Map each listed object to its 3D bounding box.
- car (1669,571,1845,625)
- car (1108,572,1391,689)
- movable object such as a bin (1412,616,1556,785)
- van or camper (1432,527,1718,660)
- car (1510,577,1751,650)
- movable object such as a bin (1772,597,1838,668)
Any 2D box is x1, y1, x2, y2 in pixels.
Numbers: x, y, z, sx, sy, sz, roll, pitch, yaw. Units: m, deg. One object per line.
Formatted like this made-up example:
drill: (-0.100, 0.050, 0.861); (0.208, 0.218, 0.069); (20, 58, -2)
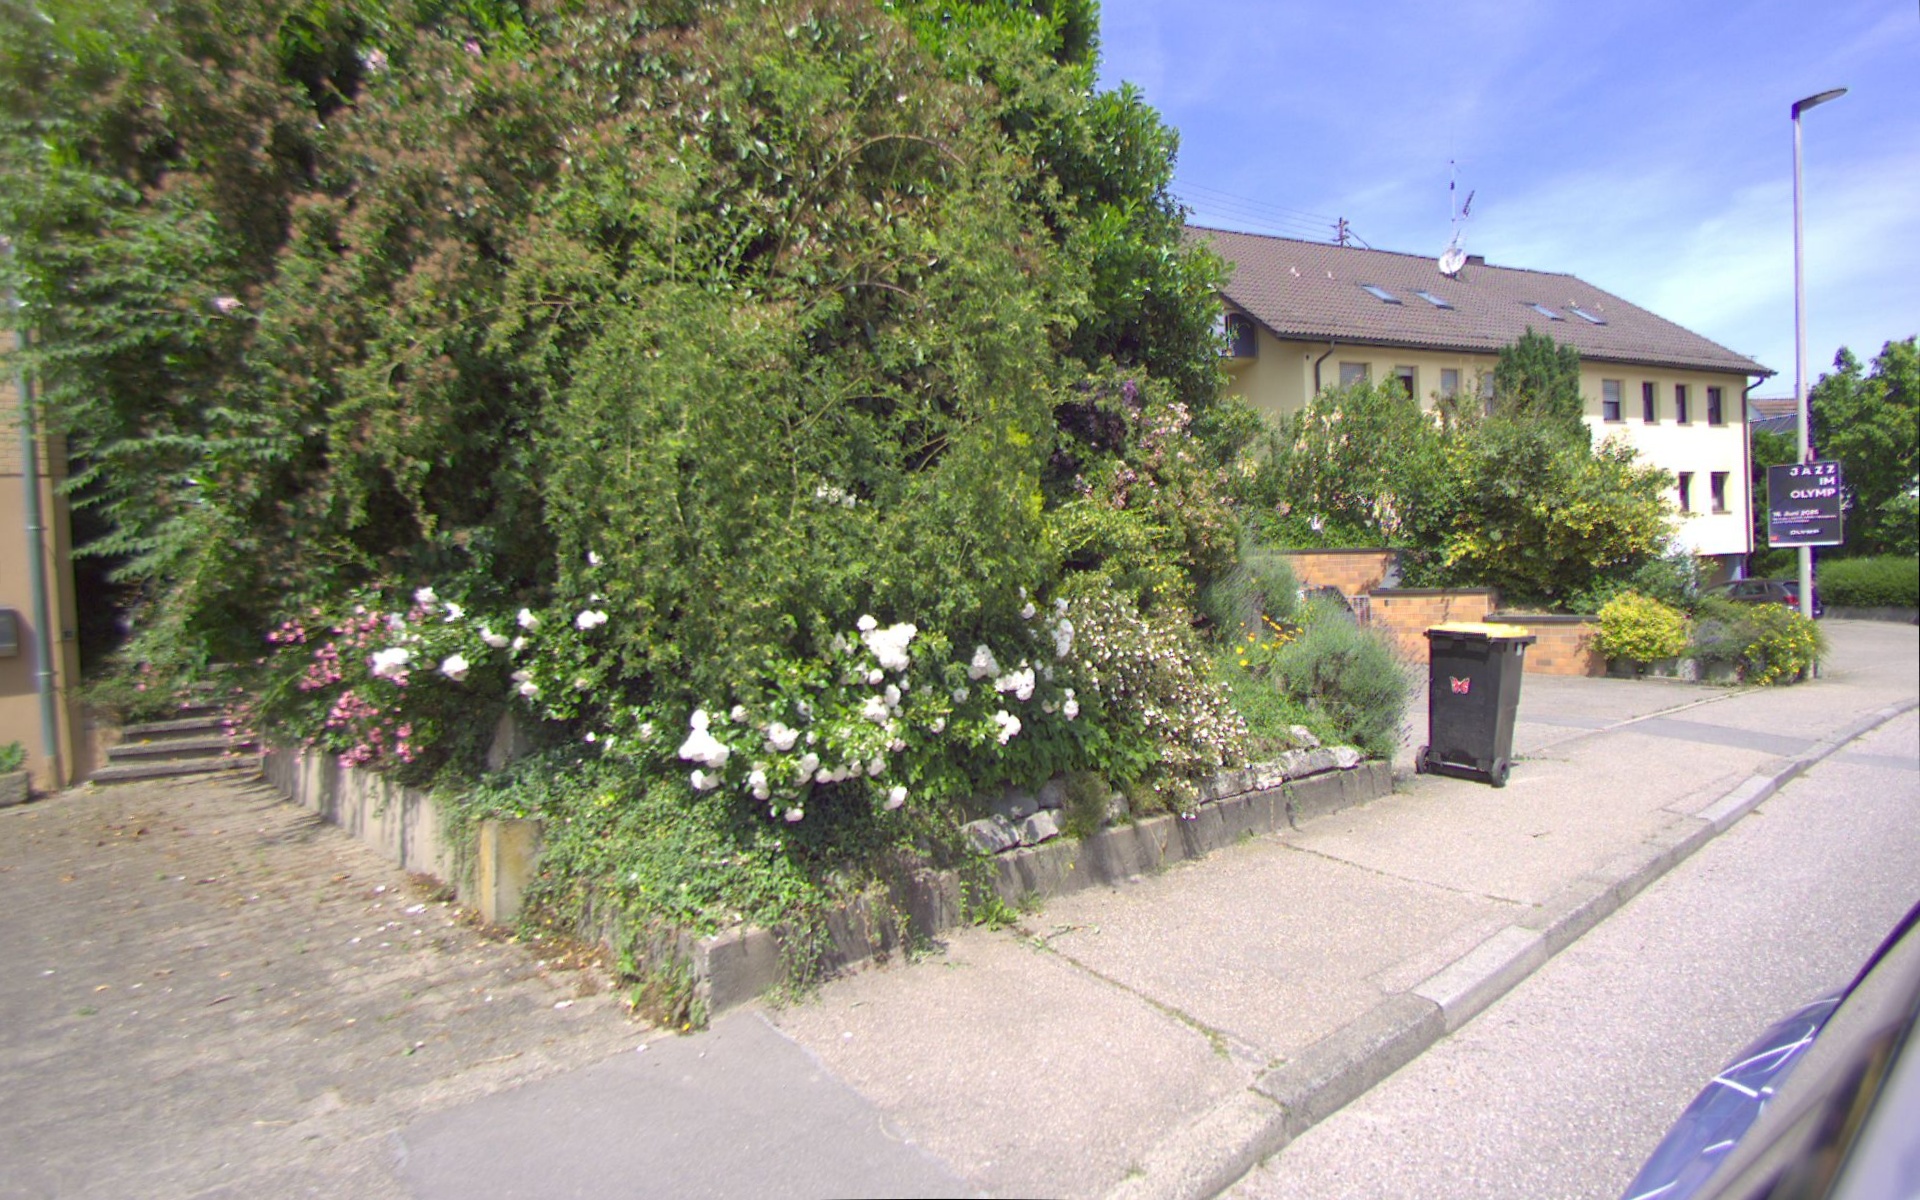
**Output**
car: (23.219, -0.065, 29.636); (1.610, 1.435, 3.700); (-2, 1, -23)
car: (4.225, 0.434, 15.130); (1.806, 1.518, 3.645); (-1, -1, -43)
movable object such as a bin: (3.694, 0.664, 7.125); (0.903, 1.072, 0.589); (0, 0, -39)
van or camper: (14.216, -0.097, 23.825); (2.238, 2.680, 5.251); (-4, 0, -25)
car: (16.641, 0.296, 25.434); (1.870, 1.582, 4.722); (-3, 1, -26)
movable object such as a bin: (13.583, 0.526, 16.274); (0.646, 1.083, 0.551); (-1, -5, -32)
